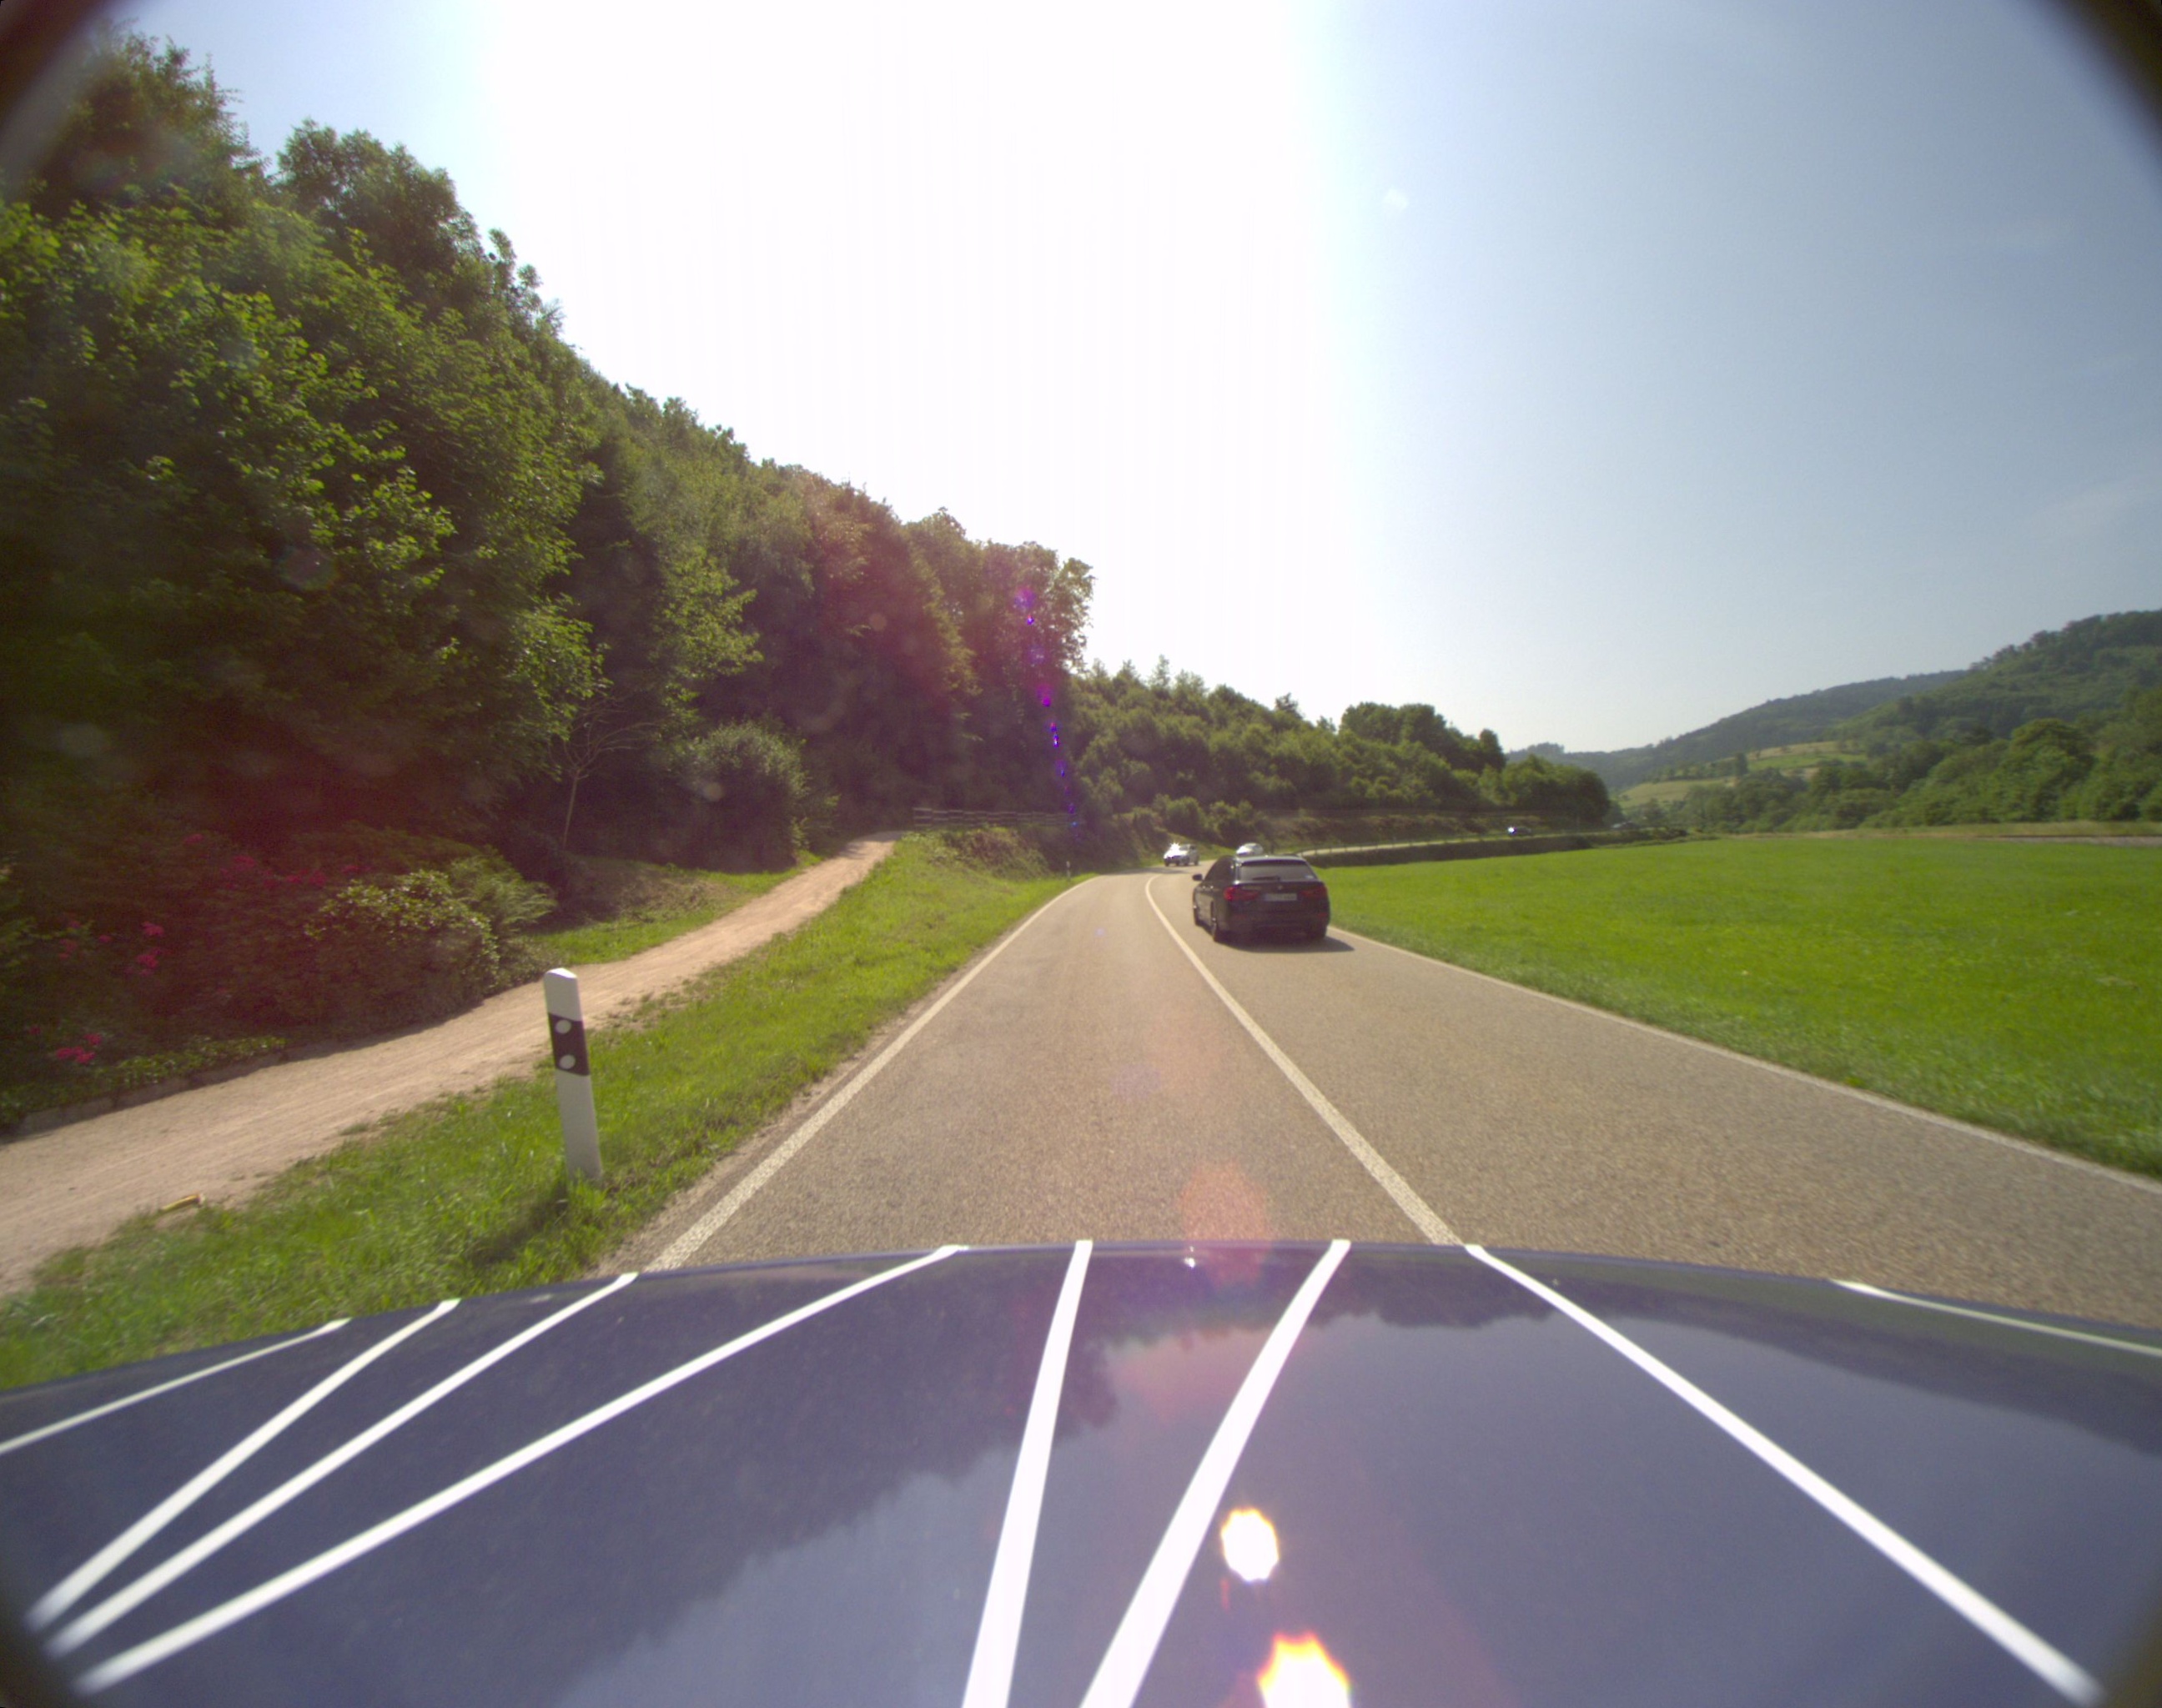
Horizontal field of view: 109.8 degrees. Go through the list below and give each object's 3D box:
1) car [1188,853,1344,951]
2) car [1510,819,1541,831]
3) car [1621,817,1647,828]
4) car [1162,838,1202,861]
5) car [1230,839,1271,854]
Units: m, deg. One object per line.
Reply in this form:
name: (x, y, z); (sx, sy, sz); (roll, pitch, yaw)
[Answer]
car: (3.166, 0.740, 13.991); (1.921, 1.462, 4.511); (-2, 0, 3)
car: (66.632, -4.328, 113.939); (4.601, 1.578, 1.878); (-2, 0, -28)
car: (94.734, -5.412, 130.133); (4.904, 1.730, 1.951); (-2, 1, -32)
car: (8.487, -0.369, 63.444); (2.114, 1.803, 4.462); (-2, 0, 24)
car: (17.647, -0.803, 78.935); (2.142, 1.482, 4.681); (-2, 0, 41)
